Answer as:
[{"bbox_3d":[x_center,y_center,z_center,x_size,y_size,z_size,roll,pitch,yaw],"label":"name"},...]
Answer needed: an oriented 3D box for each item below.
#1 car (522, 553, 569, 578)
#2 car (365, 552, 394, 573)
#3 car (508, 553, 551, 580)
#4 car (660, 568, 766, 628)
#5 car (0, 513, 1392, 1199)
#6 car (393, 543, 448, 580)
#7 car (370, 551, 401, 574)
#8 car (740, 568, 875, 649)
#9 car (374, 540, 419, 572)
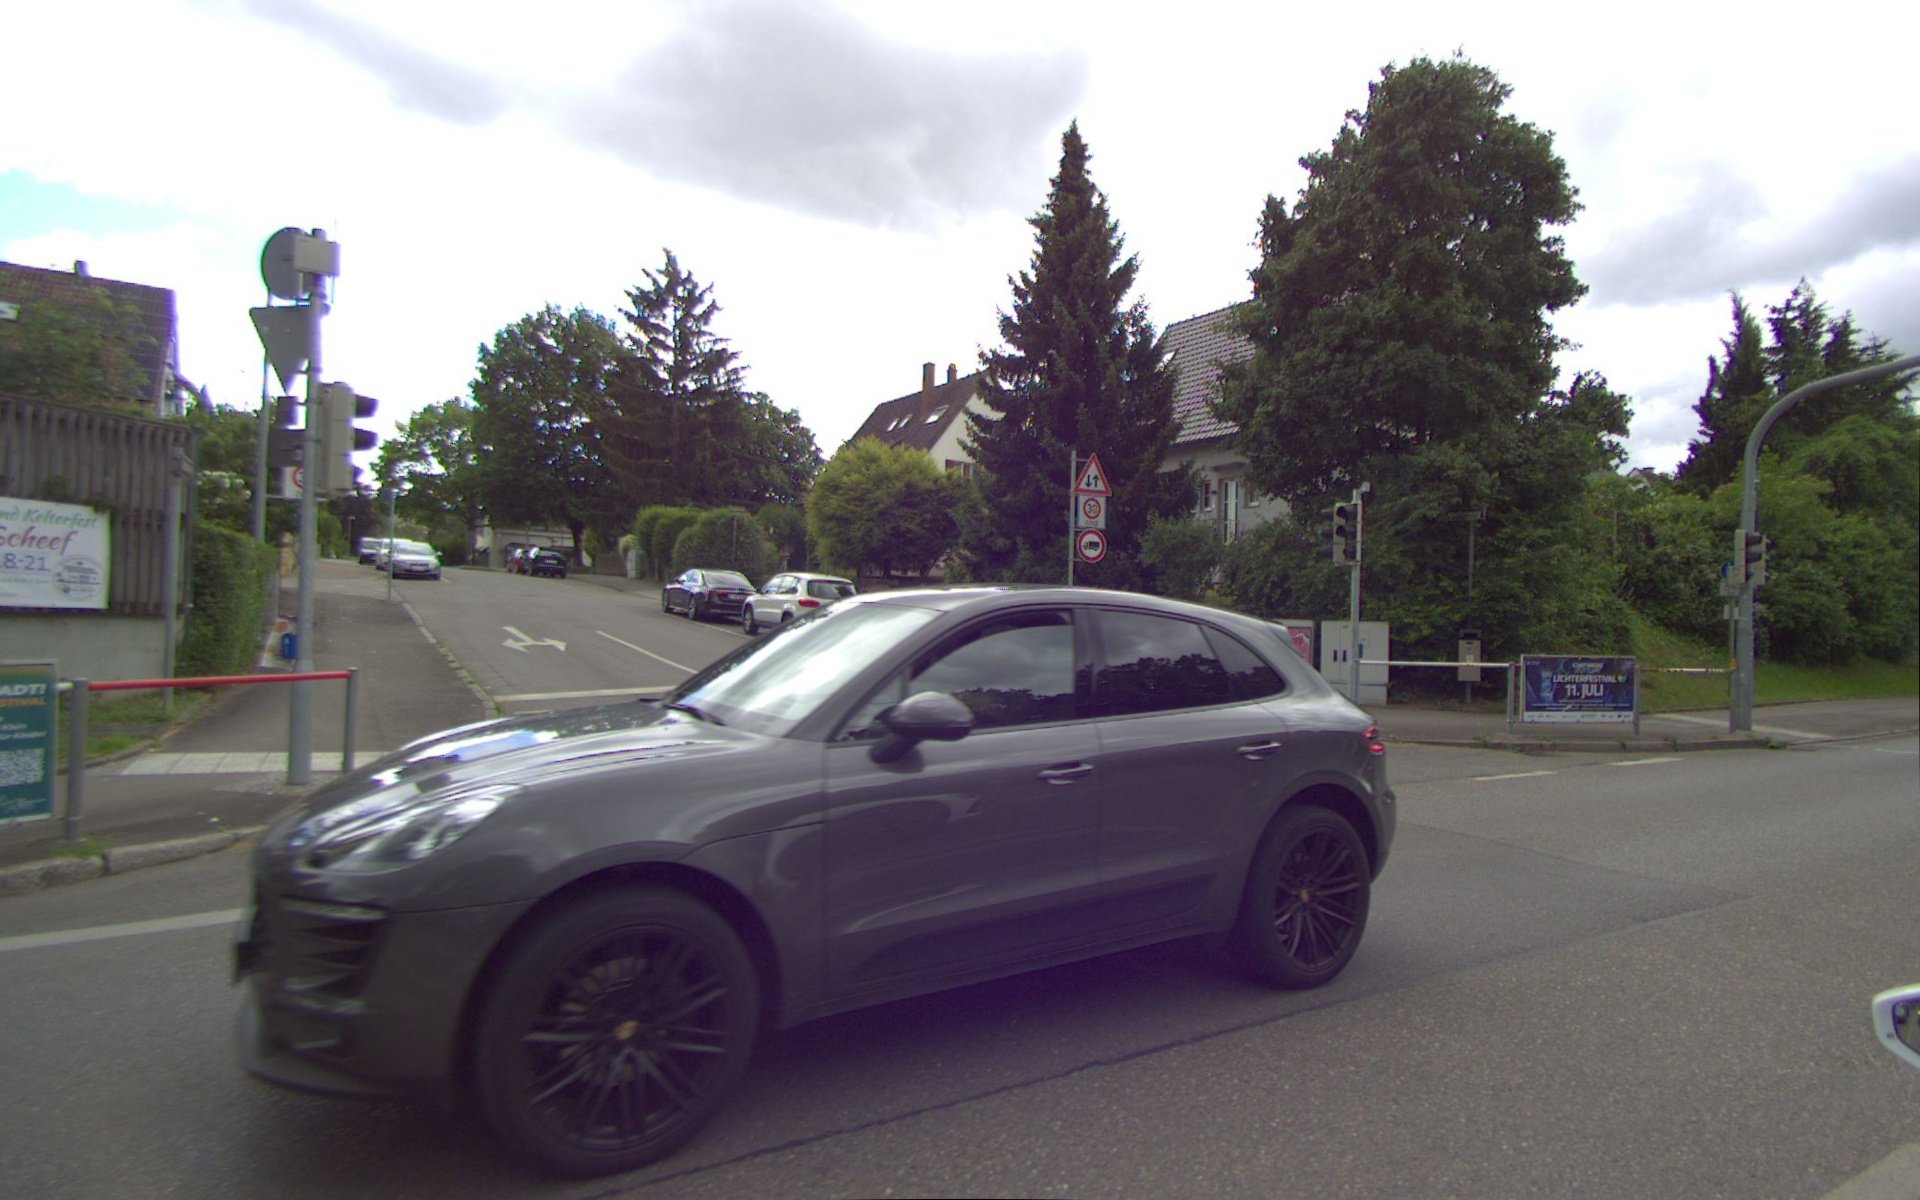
[{"bbox_3d":[-21.661,-1.816,52.424,1.605,1.218,3.735,1,2,-33],"label":"car"},{"bbox_3d":[-42.984,-2.775,74.375,1.603,1.460,3.486,1,1,-34],"label":"car"},{"bbox_3d":[-24.547,-1.929,57.203,1.603,1.460,3.486,1,1,-34],"label":"car"},{"bbox_3d":[-7.306,-0.094,29.458,1.694,1.379,4.336,4,2,-32],"label":"car"},{"bbox_3d":[-0.538,0.697,3.896,4.435,1.595,1.890,3,0,-33],"label":"car"},{"bbox_3d":[-22.140,-1.571,41.171,1.603,1.372,3.486,1,1,-34],"label":"car"},{"bbox_3d":[-40.034,-2.617,70.004,1.603,1.460,3.486,1,1,-34],"label":"car"},{"bbox_3d":[-3.772,0.162,24.293,1.821,1.620,3.872,1,4,-32],"label":"car"},{"bbox_3d":[-27.136,-2.112,48.354,1.603,1.460,3.486,1,1,-34],"label":"car"}]
